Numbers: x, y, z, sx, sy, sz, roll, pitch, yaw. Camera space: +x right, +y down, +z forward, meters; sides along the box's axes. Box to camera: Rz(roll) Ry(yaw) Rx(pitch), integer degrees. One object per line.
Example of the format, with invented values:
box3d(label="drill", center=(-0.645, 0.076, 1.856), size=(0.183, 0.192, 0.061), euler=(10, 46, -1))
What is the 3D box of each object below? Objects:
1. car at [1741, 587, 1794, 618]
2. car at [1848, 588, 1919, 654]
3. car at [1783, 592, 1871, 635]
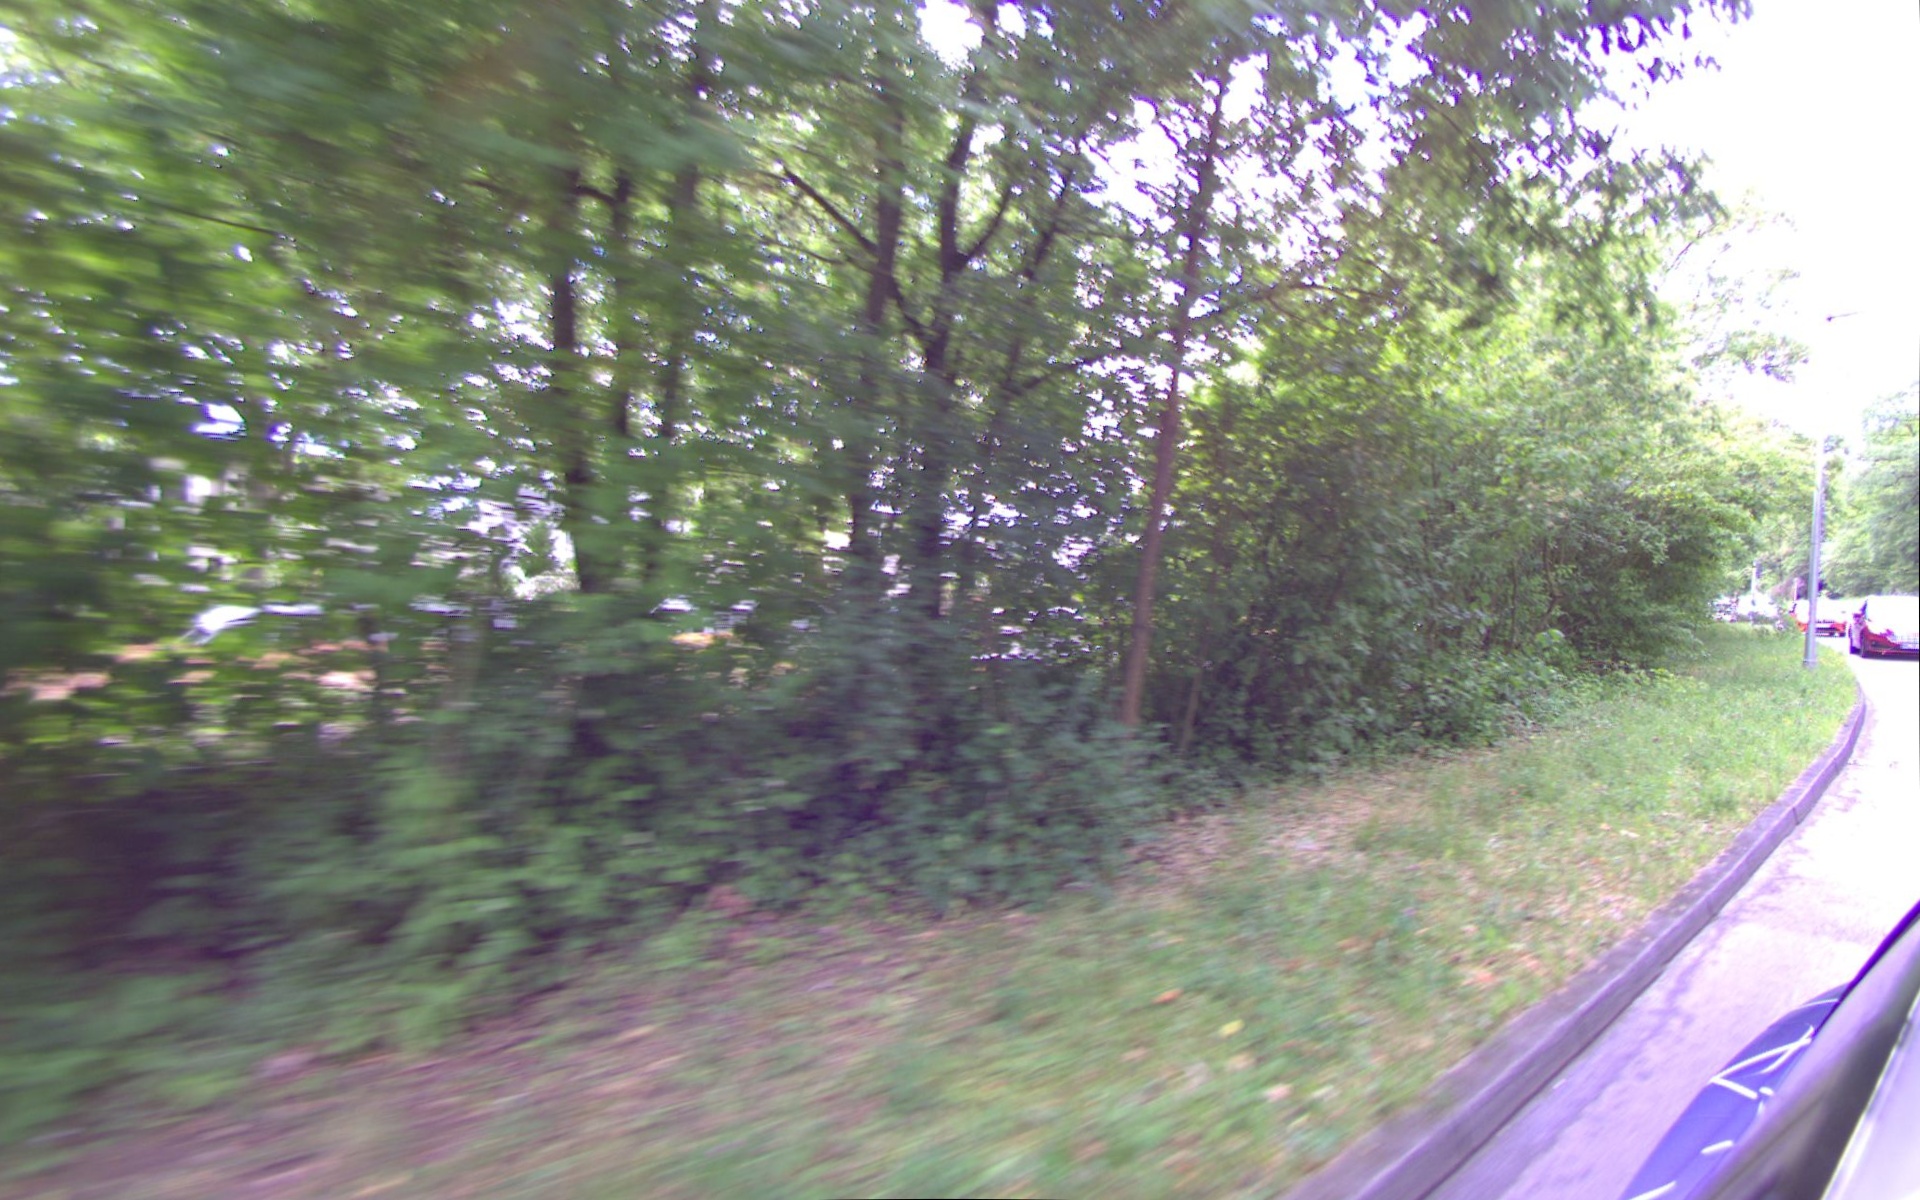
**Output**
box3d(label="car", center=(45.686, 0.124, 57.298), size=(1.909, 1.616, 3.851), euler=(3, 2, 33))
box3d(label="car", center=(25.326, 0.517, 27.078), size=(1.851, 1.638, 4.419), euler=(1, 1, 35))
box3d(label="car", center=(35.742, 0.513, 41.844), size=(1.984, 1.593, 3.958), euler=(3, 2, 30))
